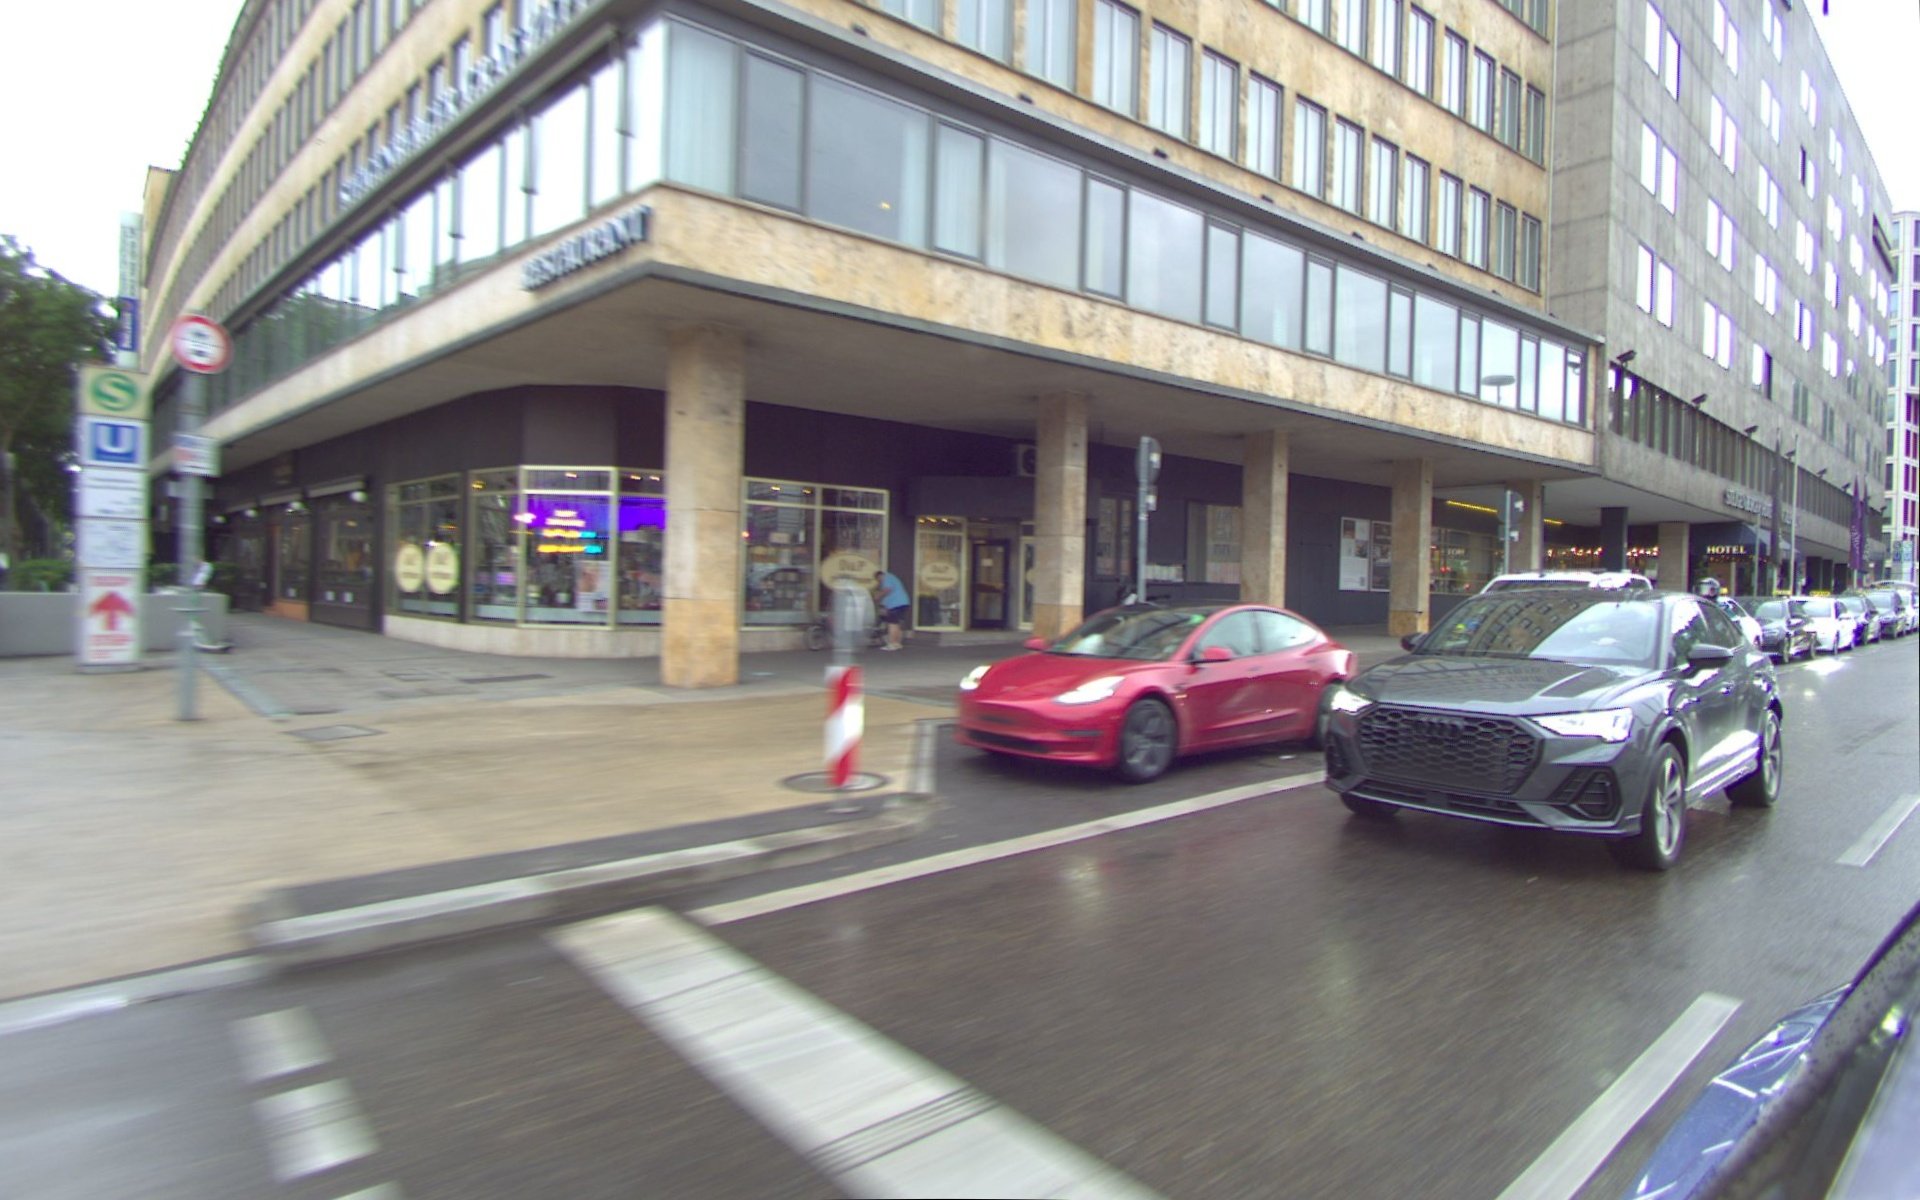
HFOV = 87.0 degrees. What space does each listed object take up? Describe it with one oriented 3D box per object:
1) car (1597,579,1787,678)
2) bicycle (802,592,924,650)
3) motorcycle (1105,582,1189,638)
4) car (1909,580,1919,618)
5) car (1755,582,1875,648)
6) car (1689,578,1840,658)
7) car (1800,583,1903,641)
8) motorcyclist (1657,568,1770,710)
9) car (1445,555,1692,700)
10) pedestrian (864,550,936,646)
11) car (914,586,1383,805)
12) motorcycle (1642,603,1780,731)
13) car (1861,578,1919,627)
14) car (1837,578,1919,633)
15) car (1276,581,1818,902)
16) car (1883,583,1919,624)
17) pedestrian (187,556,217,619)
[{"bbox_3d":[14.226,0.453,19.564,4.924,1.658,1.878,-1,0,-41],"label":"car"},{"bbox_3d":[-1.876,0.385,19.834,2.428,1.059,0.657,-1,0,-40],"label":"bicycle"},{"bbox_3d":[4.320,0.209,23.312,2.063,1.233,0.569,-1,0,-32],"label":"motorcycle"},{"bbox_3d":[43.723,-0.086,45.059,3.931,1.634,1.729,-1,0,-41],"label":"car"},{"bbox_3d":[22.996,0.339,27.166,4.730,1.612,1.729,-1,0,-41],"label":"car"},{"bbox_3d":[18.739,0.348,23.485,4.730,1.658,1.878,-1,0,-41],"label":"car"},{"bbox_3d":[27.294,0.318,30.929,4.730,1.612,1.729,-1,0,-41],"label":"car"},{"bbox_3d":[8.697,0.420,11.688,0.829,1.547,0.860,-1,0,-40],"label":"motorcyclist"},{"bbox_3d":[9.643,0.330,15.856,4.849,1.944,1.878,-1,0,-41],"label":"car"},{"bbox_3d":[-1.158,-0.047,19.643,1.116,1.812,0.800,-1,0,-40],"label":"pedestrian"},{"bbox_3d":[1.905,0.660,9.322,4.447,1.505,1.878,-1,0,-41],"label":"car"},{"bbox_3d":[8.723,0.714,11.726,1.931,1.323,0.848,-1,0,-40],"label":"motorcycle"},{"bbox_3d":[35.678,0.046,38.315,4.730,1.764,1.729,-1,0,-41],"label":"car"},{"bbox_3d":[31.857,0.135,34.925,4.730,1.764,1.729,-1,0,-41],"label":"car"},{"bbox_3d":[4.215,0.658,6.969,4.266,1.520,1.882,-1,0,-40],"label":"car"},{"bbox_3d":[39.726,0.106,41.906,3.931,1.634,1.729,-1,0,-41],"label":"car"},{"bbox_3d":[-20.923,-0.337,27.935,0.607,1.721,0.574,-1,0,-41],"label":"pedestrian"}]
